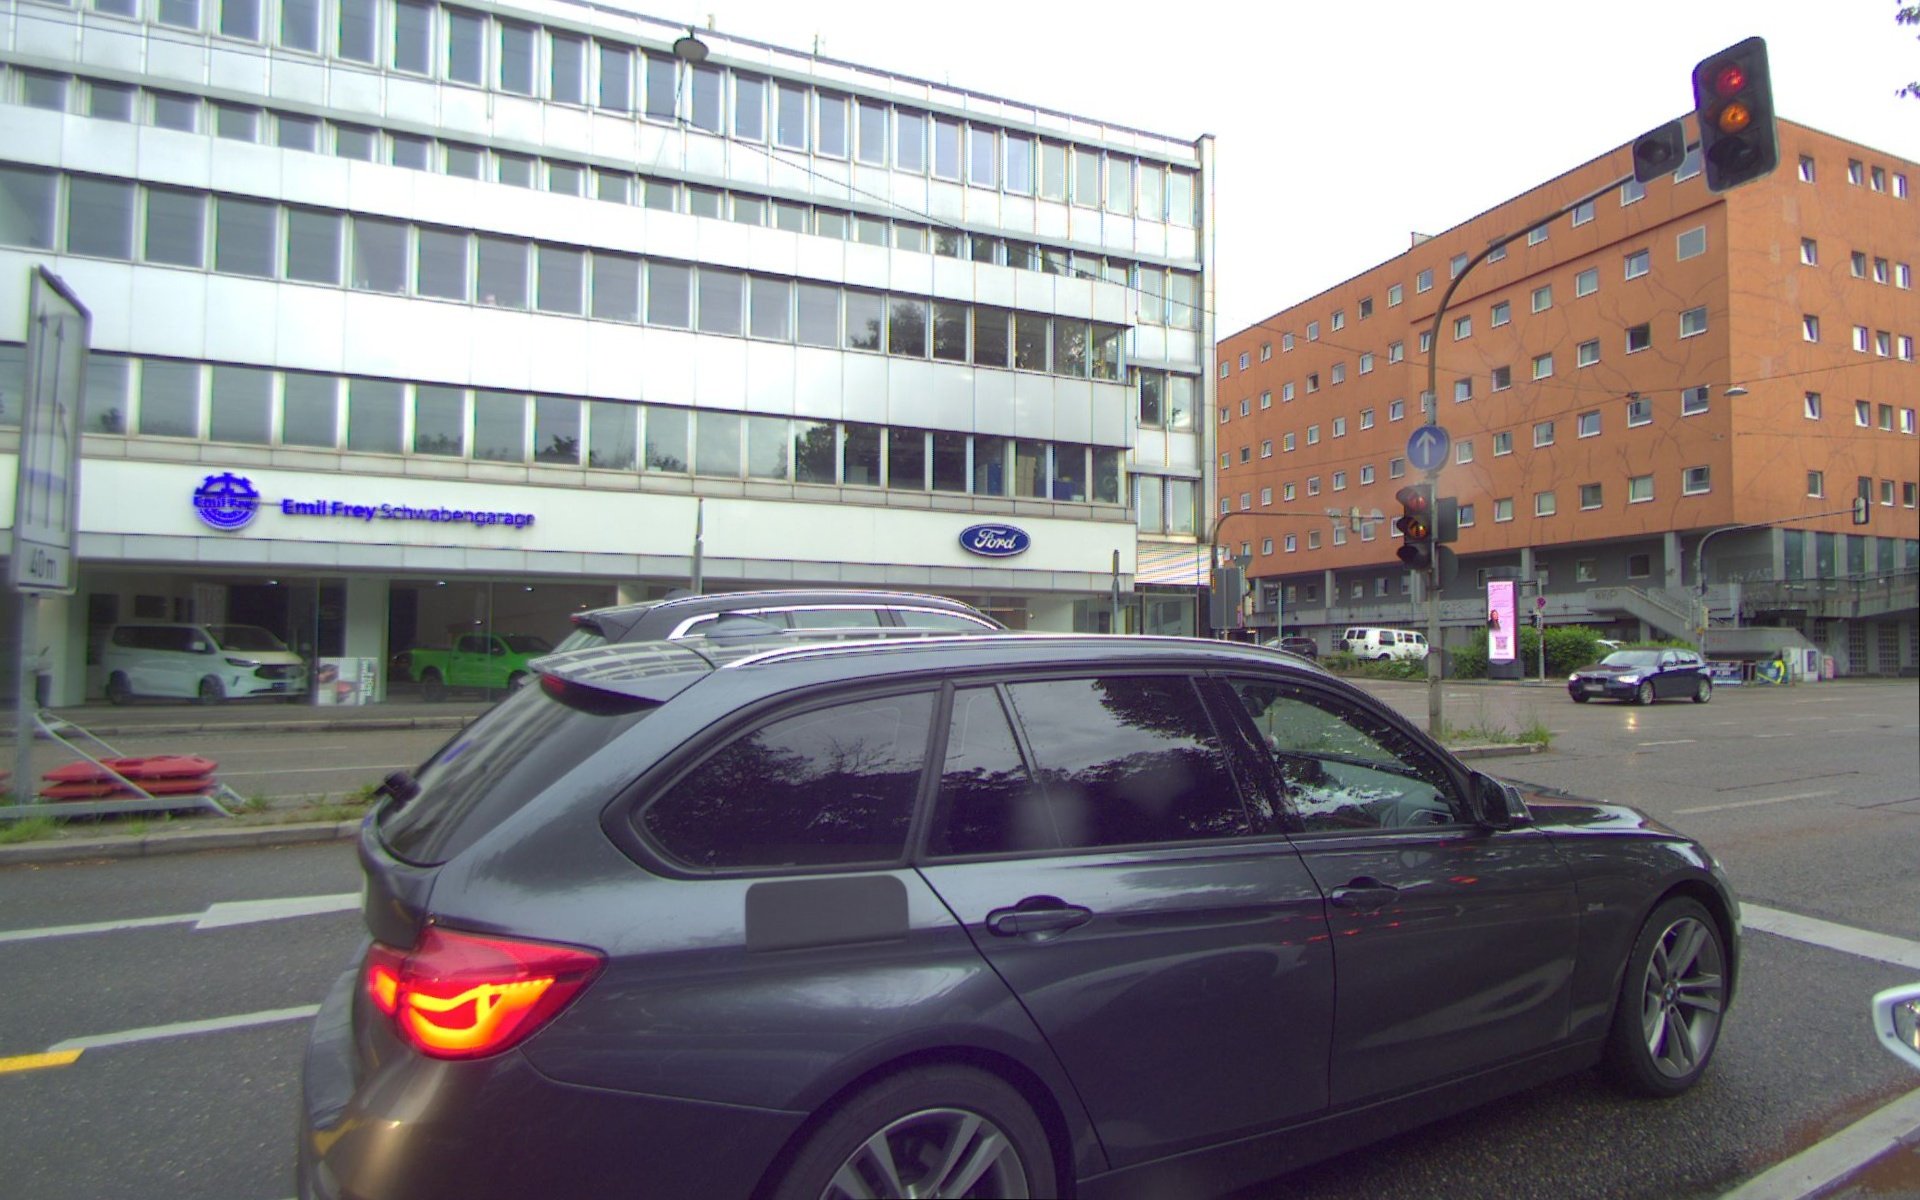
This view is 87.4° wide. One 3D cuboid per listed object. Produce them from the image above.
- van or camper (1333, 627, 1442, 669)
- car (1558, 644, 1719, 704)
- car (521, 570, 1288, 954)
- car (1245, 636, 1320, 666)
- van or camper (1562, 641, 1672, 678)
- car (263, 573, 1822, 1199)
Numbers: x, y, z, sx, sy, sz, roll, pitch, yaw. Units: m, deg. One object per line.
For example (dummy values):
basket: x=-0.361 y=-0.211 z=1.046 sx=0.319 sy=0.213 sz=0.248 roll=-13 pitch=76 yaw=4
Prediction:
van or camper: x=22.290 y=2.514 z=52.355 sx=5.376 sy=2.004 sz=2.121 roll=2 pitch=0 yaw=-23
car: x=17.476 y=1.864 z=25.837 sx=4.162 sy=1.437 sz=1.679 roll=2 pitch=-3 yaw=-28
car: x=-0.257 y=0.765 z=6.232 sx=4.389 sy=1.678 sz=1.802 roll=2 pitch=0 yaw=-28
car: x=18.966 y=2.992 z=59.017 sx=4.027 sy=1.633 sz=1.706 roll=2 pitch=0 yaw=-23
van or camper: x=30.974 y=2.767 z=47.445 sx=1.887 sy=1.648 sz=3.978 roll=1 pitch=-2 yaw=-23
car: x=0.613 y=0.795 z=3.148 sx=4.424 sy=1.477 sz=1.769 roll=2 pitch=-3 yaw=-30
